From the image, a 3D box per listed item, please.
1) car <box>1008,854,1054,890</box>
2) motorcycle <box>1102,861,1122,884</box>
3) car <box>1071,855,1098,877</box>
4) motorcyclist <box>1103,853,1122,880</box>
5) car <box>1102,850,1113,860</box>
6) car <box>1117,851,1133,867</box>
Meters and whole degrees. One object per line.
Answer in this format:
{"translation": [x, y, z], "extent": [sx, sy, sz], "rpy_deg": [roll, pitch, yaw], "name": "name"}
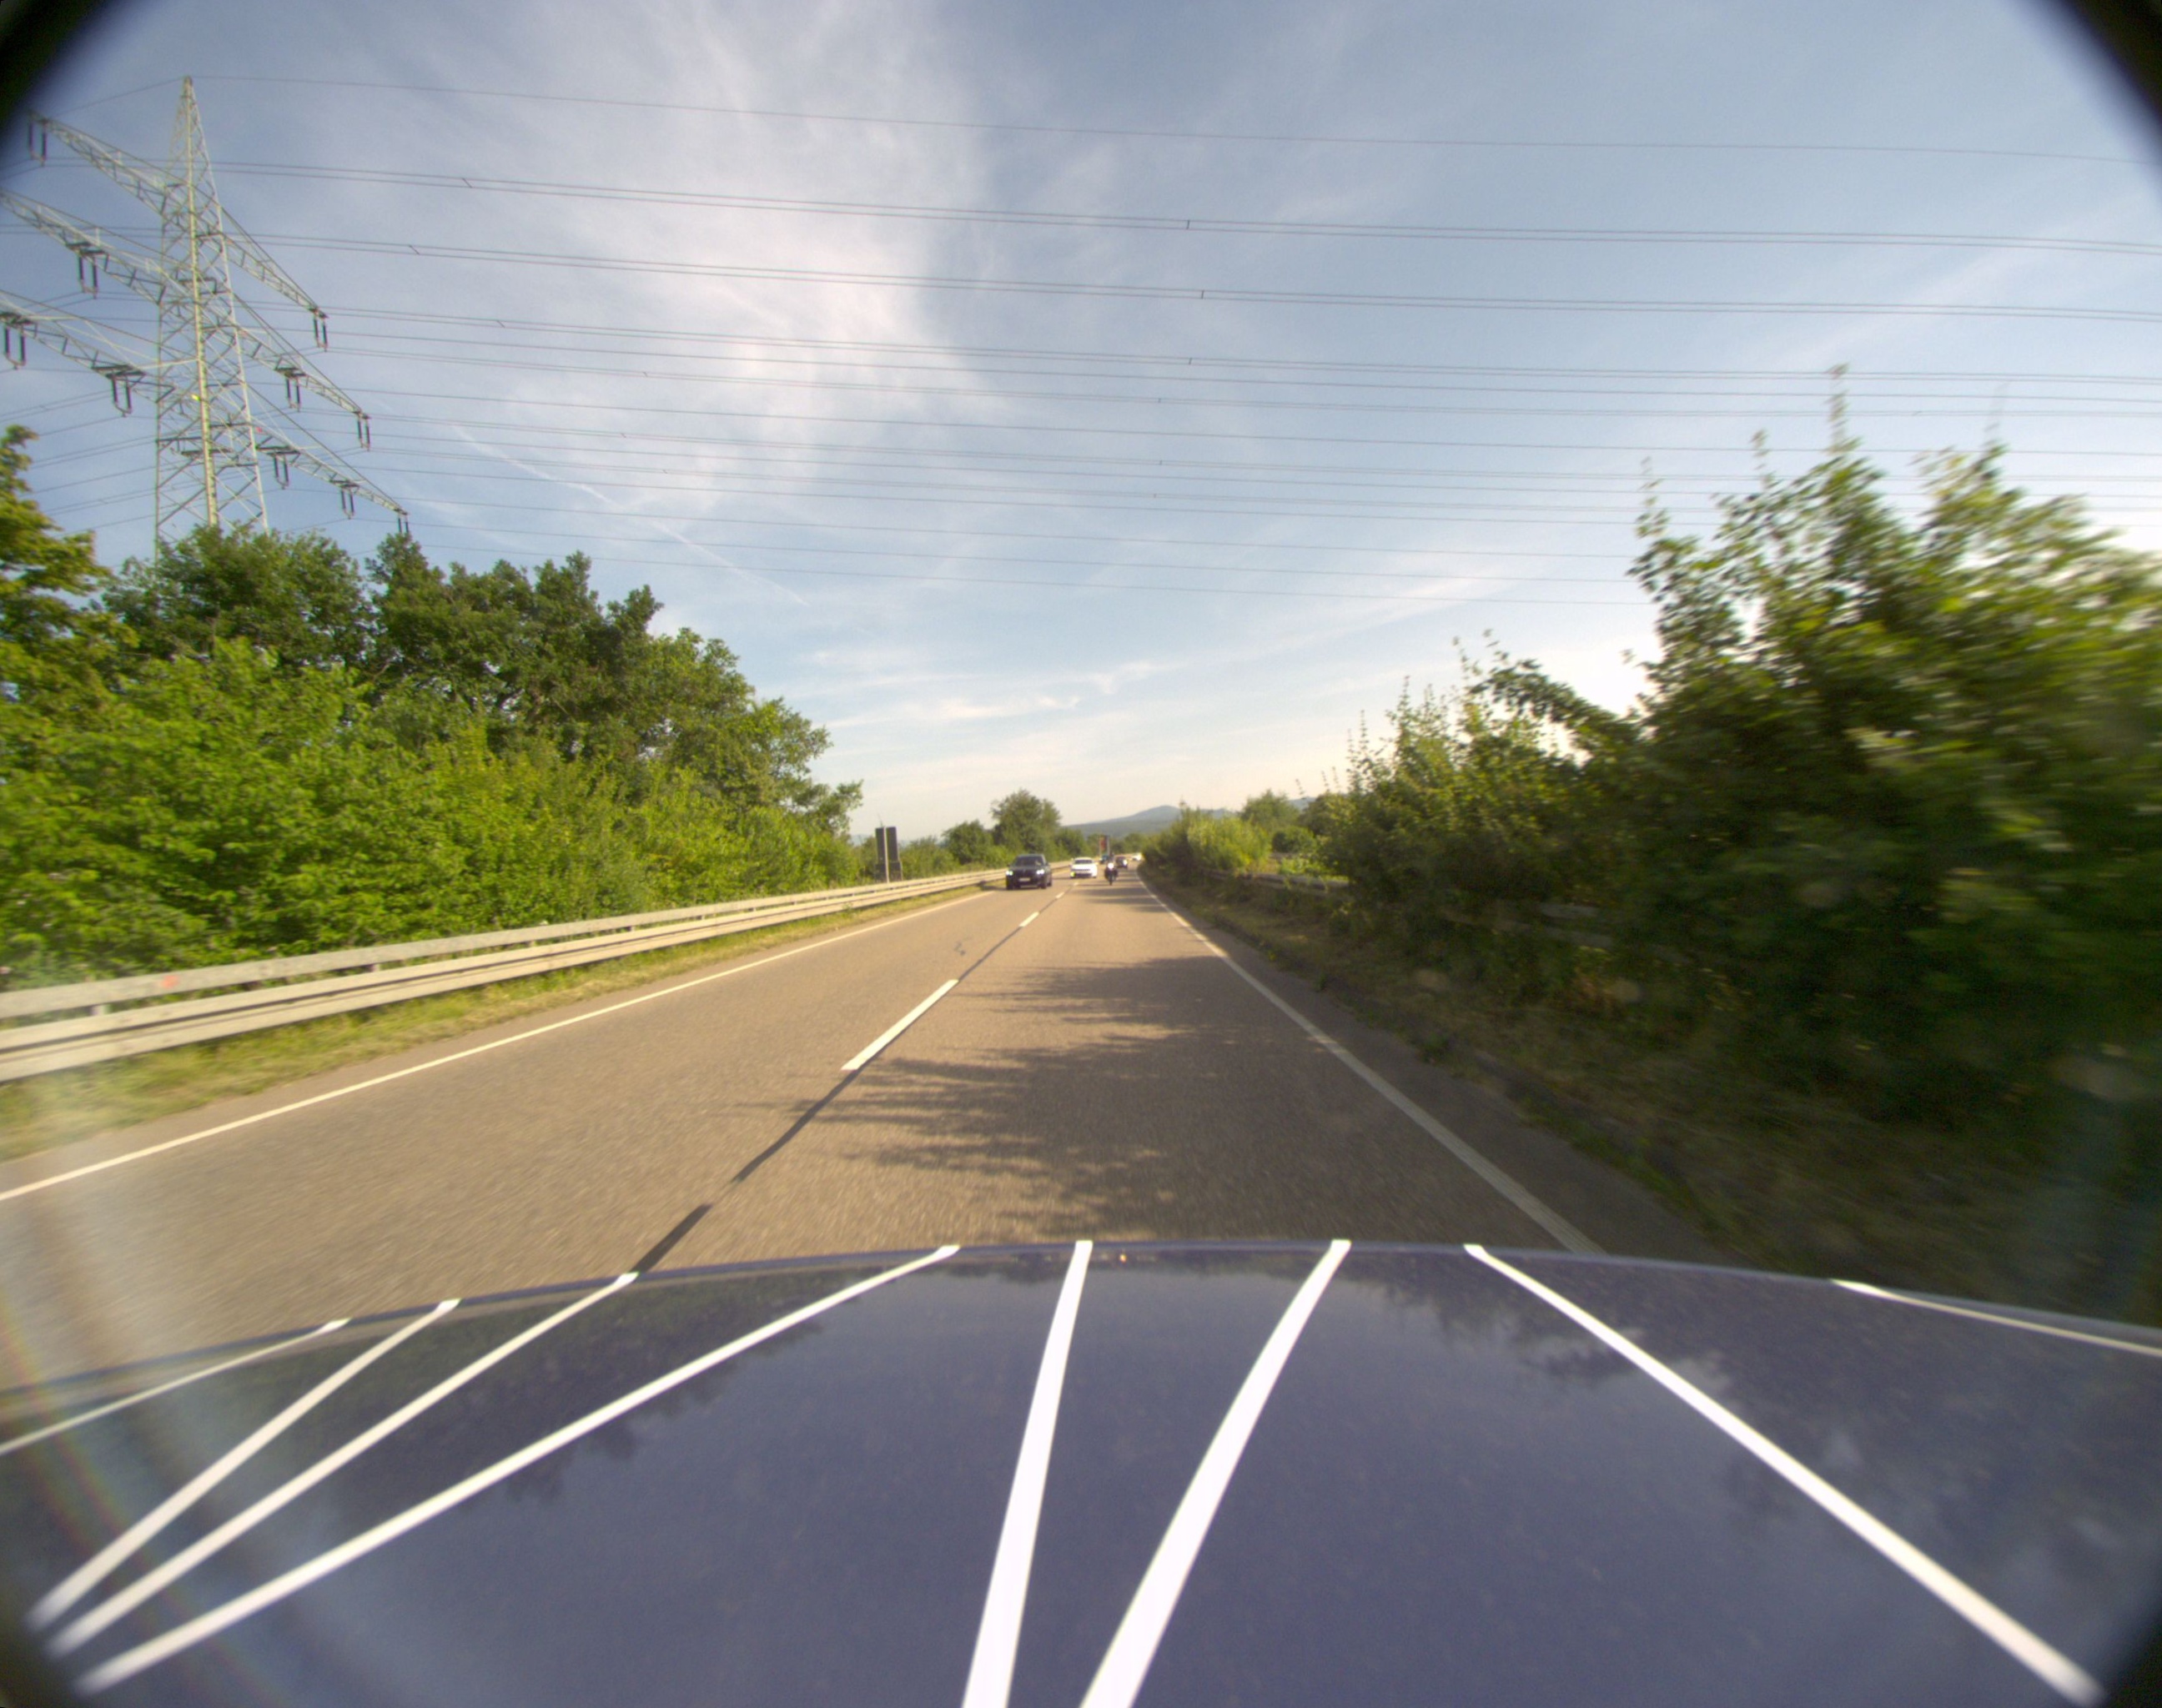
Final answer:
{"translation": [-2.506, 0.866, 38.682], "extent": [1.878, 1.630, 4.000], "rpy_deg": [-2, 0, 2], "name": "car"}
{"translation": [1.622, 0.958, 40.307], "extent": [0.937, 1.131, 2.582], "rpy_deg": [-2, 1, 1], "name": "motorcycle"}
{"translation": [0.218, 0.811, 54.400], "extent": [1.869, 1.454, 4.083], "rpy_deg": [-2, 0, -1], "name": "car"}
{"translation": [1.654, 0.655, 40.260], "extent": [0.937, 1.344, 1.142], "rpy_deg": [-2, 1, 1], "name": "motorcyclist"}
{"translation": [4.287, 0.155, 122.137], "extent": [1.677, 1.541, 3.827], "rpy_deg": [-2, 1, 2], "name": "car"}
{"translation": [4.712, 0.527, 81.869], "extent": [1.677, 1.541, 3.827], "rpy_deg": [-2, 1, 2], "name": "car"}
